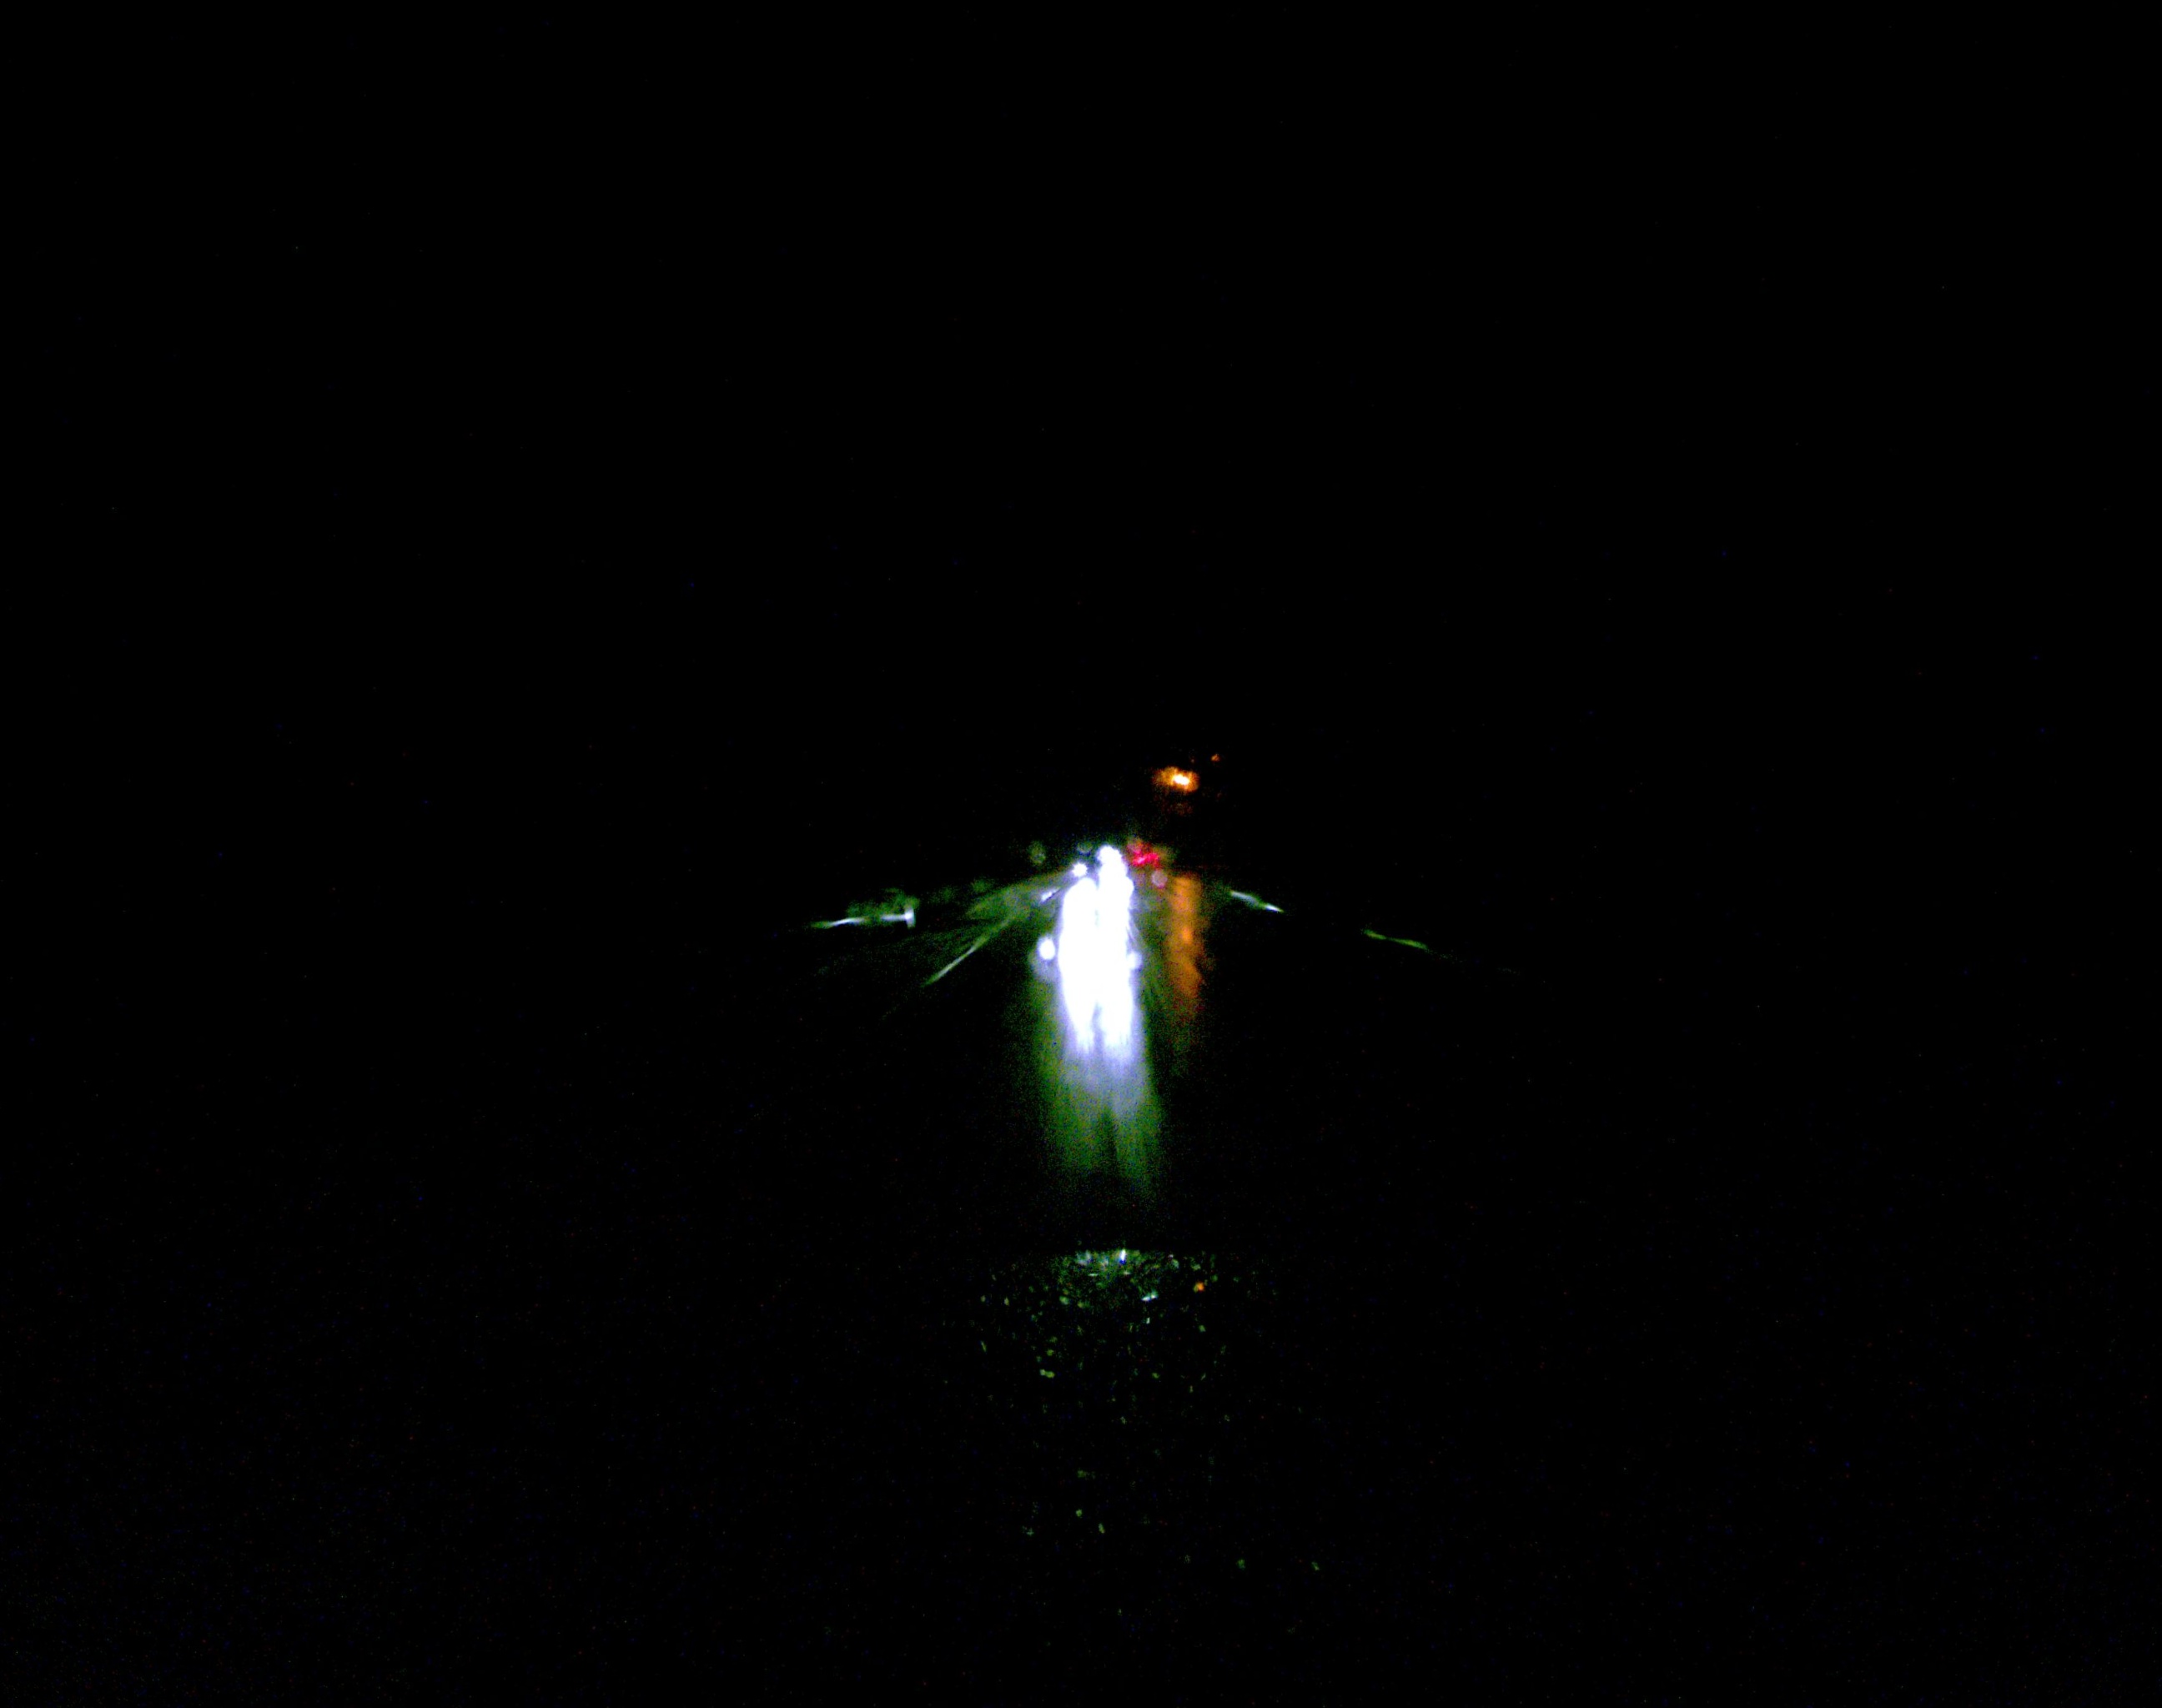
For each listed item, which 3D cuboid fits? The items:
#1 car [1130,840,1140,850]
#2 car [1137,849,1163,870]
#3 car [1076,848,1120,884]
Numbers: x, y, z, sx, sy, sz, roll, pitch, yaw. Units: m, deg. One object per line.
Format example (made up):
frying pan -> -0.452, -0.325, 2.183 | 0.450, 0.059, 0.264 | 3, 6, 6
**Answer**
car -> 9.454, -1.562, 133.110 | 1.805, 1.484, 3.867 | -2, 2, 3
car -> 5.613, 0.406, 61.792 | 1.919, 1.467, 4.203 | -3, 1, 4
car -> 0.781, 0.619, 37.838 | 1.944, 1.580, 4.776 | -3, -1, 0
